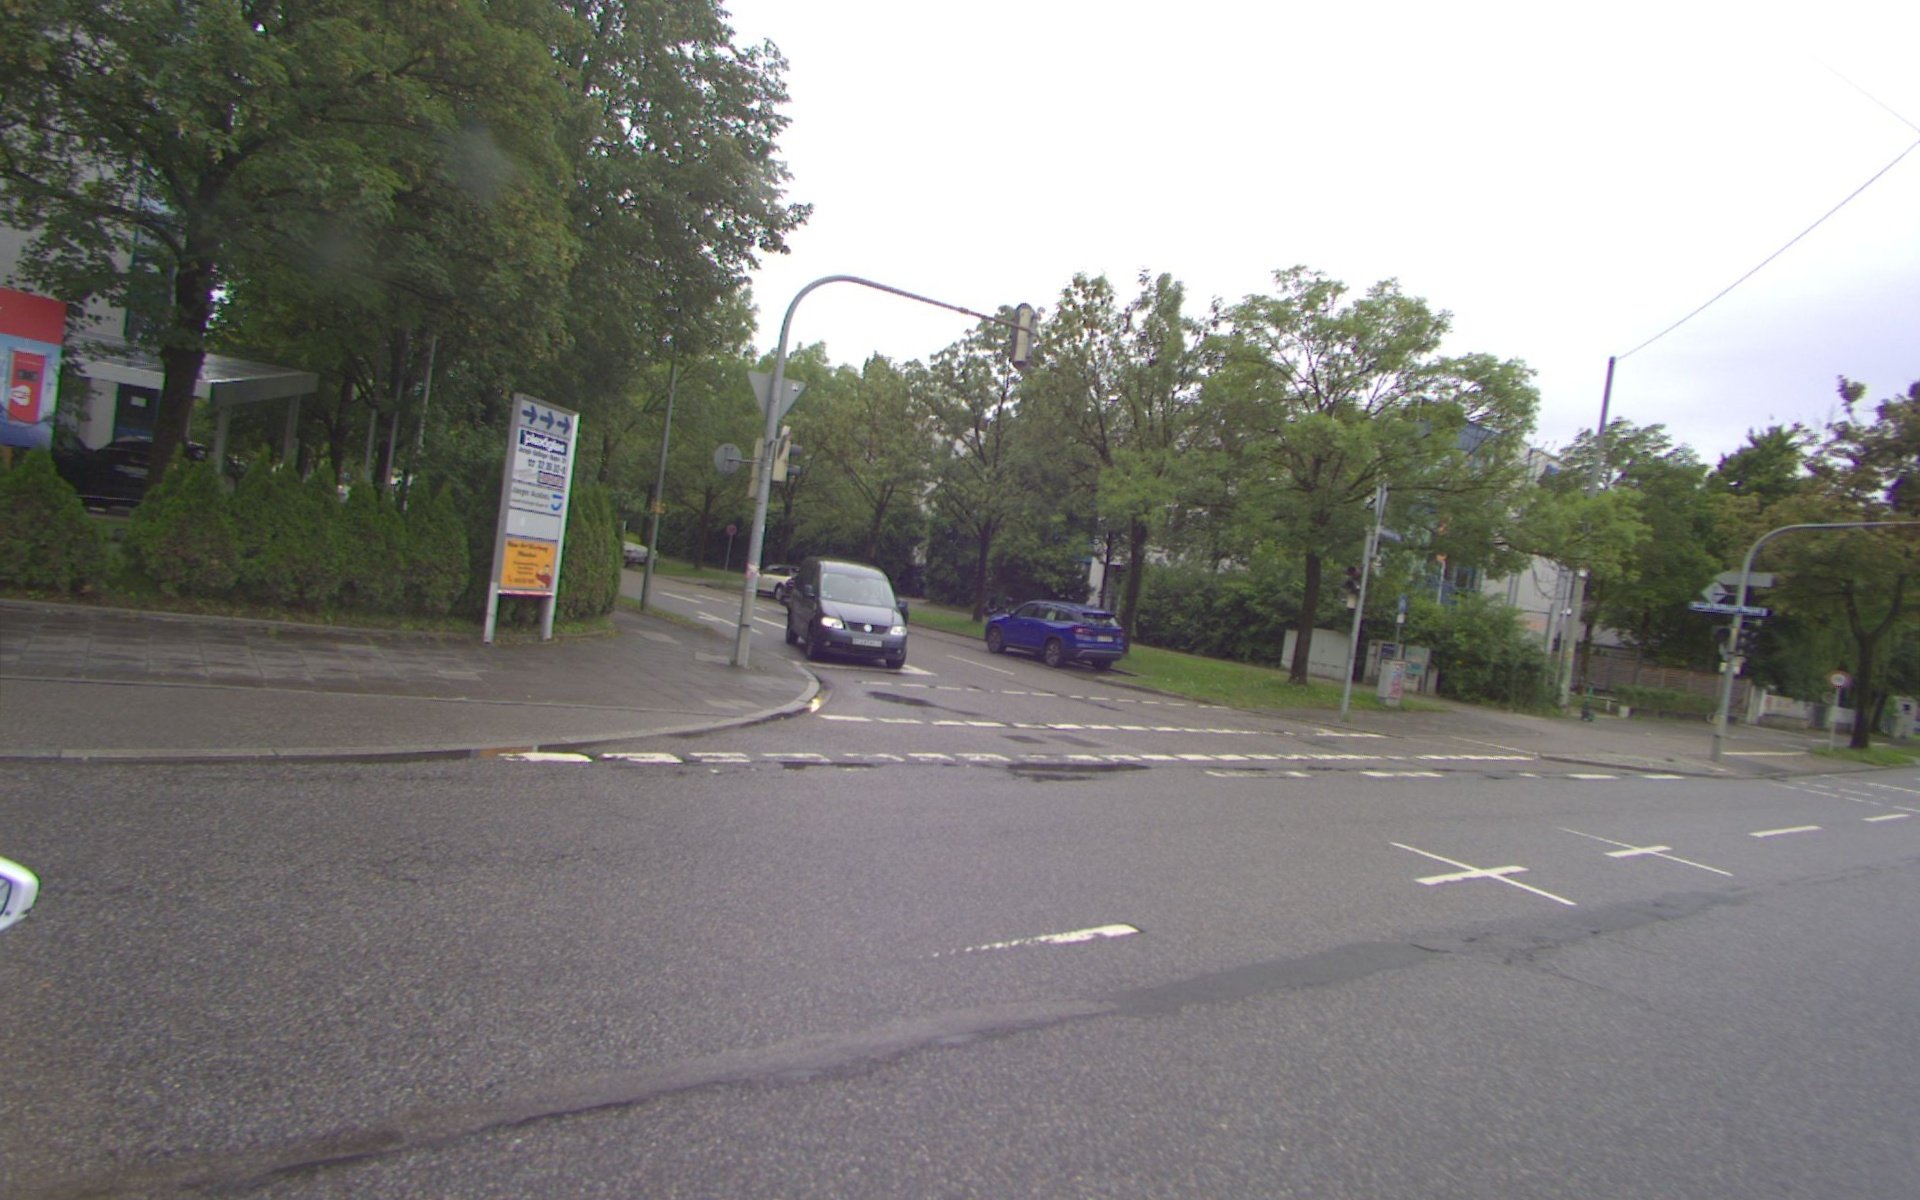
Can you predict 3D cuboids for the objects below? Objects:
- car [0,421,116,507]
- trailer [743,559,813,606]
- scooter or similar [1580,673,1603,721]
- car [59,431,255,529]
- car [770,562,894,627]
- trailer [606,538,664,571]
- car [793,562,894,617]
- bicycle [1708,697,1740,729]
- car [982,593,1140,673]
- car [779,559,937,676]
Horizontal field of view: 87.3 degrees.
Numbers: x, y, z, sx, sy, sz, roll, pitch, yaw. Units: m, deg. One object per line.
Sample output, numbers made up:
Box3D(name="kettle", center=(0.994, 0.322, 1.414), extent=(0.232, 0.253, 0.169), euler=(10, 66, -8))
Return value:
Box3D(name="car", center=(-18.114, -2.646, 19.148), extent=(1.845, 1.437, 4.150), euler=(8, 2, -23))
Box3D(name="trailer", center=(-7.505, -0.746, 41.269), extent=(1.439, 1.432, 3.307), euler=(7, 3, -36))
Box3D(name="scooter or similar", center=(20.121, 3.074, 32.052), extent=(0.365, 1.442, 1.401), euler=(11, 3, 34))
Box3D(name="car", center=(-15.826, -2.329, 20.099), extent=(1.845, 1.437, 4.150), euler=(8, 2, -23))
Box3D(name="car", center=(-3.927, -0.163, 30.867), extent=(3.247, 1.461, 1.651), euler=(8, 1, -31))
Box3D(name="trailer", center=(-17.453, -2.467, 53.989), extent=(1.548, 1.278, 3.379), euler=(7, 3, -43))
Box3D(name="car", center=(-4.325, -0.411, 36.897), extent=(1.747, 1.595, 4.121), euler=(5, 2, -37))
Box3D(name="bicycle", center=(34.203, 5.075, 45.016), extent=(2.438, 1.312, 0.576), euler=(7, 3, -43))
Box3D(name="car", center=(2.596, 0.838, 27.012), extent=(1.978, 1.595, 4.246), euler=(5, 2, -31))
Box3D(name="car", center=(-2.137, 0.224, 19.576), extent=(1.971, 1.744, 4.771), euler=(8, 0, -17))
